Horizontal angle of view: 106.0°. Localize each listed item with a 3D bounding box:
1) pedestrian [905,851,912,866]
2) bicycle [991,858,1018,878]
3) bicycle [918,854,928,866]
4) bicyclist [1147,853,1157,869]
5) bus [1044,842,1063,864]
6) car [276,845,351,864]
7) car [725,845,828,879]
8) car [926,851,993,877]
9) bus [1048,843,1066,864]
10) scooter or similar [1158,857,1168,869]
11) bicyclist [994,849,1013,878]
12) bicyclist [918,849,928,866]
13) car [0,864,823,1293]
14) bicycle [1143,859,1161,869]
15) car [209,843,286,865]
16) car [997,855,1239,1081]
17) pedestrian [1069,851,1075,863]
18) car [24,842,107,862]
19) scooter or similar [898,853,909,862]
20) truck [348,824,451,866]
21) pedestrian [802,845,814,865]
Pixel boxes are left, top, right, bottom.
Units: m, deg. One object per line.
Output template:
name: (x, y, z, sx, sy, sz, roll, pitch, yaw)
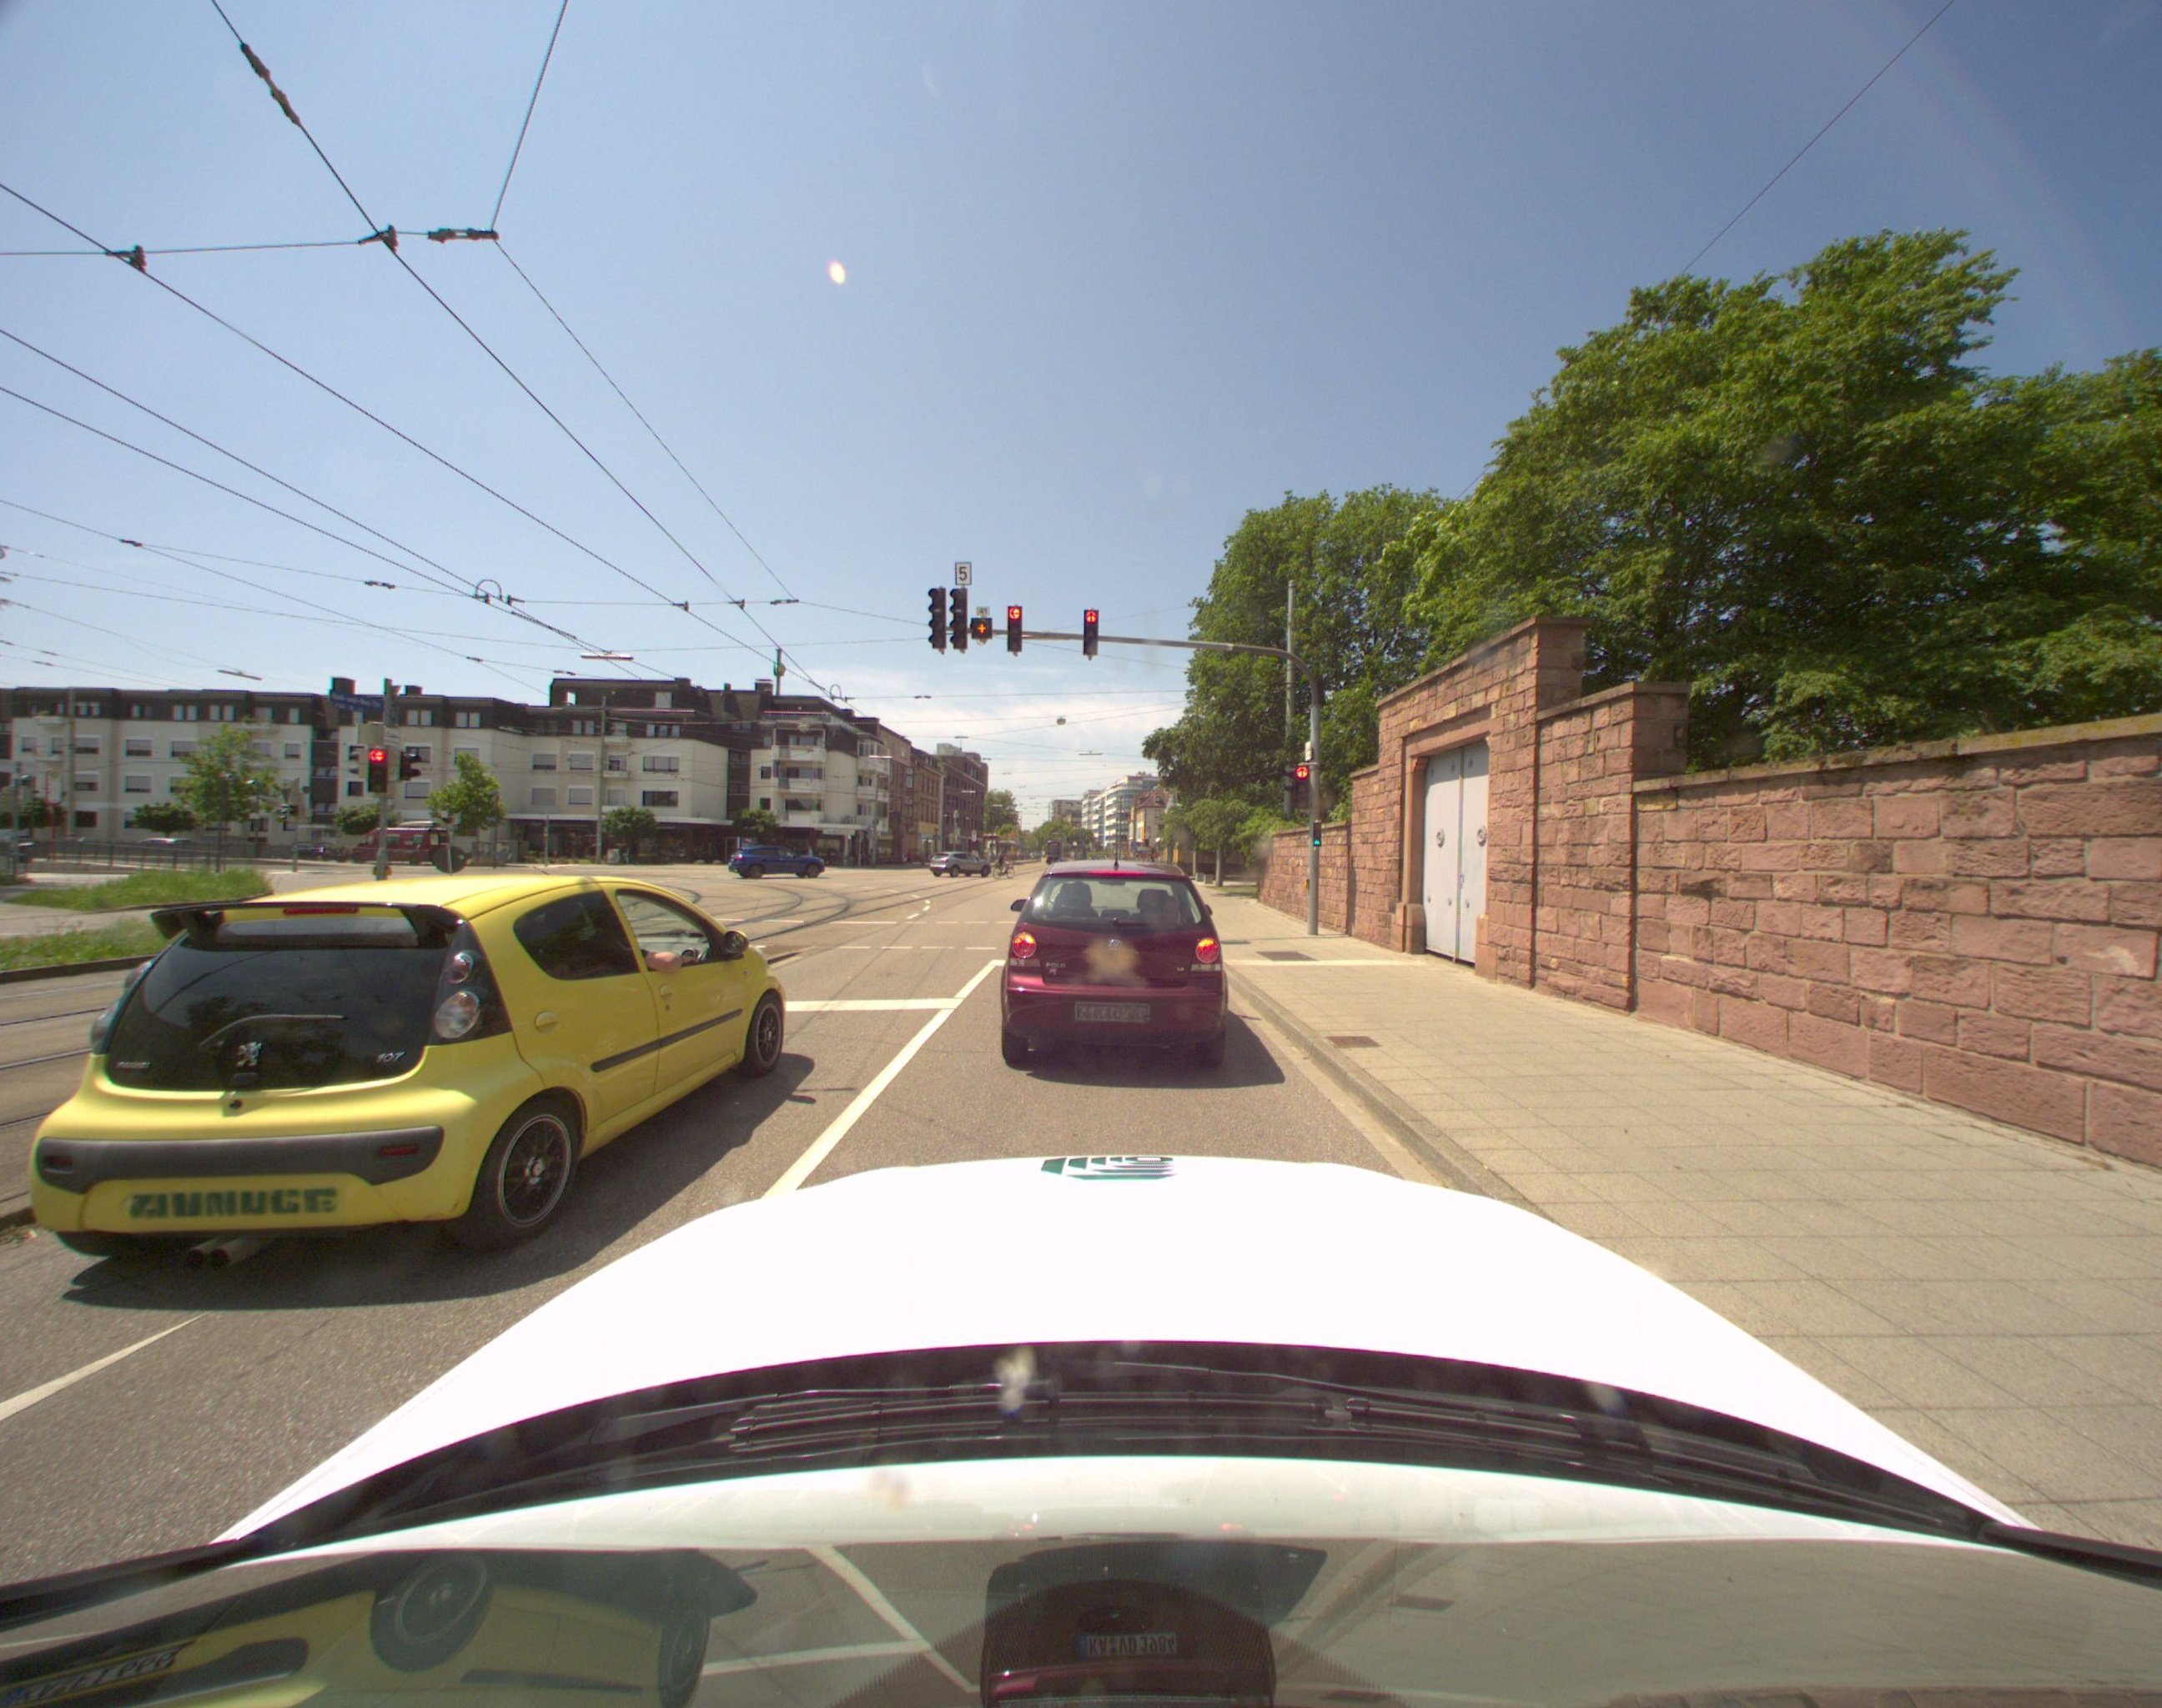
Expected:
pedestrian: (-18.167, 0.426, 85.756, 0.612, 1.560, 0.640, 1, 0, 1)
bicycle: (-4.677, 0.844, 49.839, 0.372, 1.197, 1.917, 1, 0, 41)
bicycle: (-16.411, 0.643, 84.611, 0.692, 1.149, 1.932, 1, 1, 1)
bicyclist: (7.586, 0.738, 86.927, 0.850, 1.618, 0.839, -2, 1, 20)
bus: (-3.980, -0.126, 119.016, 2.136, 3.003, 6.577, 1, 0, 2)
car: (-51.354, 0.048, 54.535, 3.556, 1.219, 1.591, 1, 0, 2)
car: (-15.686, 0.416, 42.056, 4.652, 1.624, 1.978, 1, 0, -37)
car: (-7.673, 0.637, 51.765, 1.806, 1.530, 4.025, 1, 0, 40)
bus: (-3.696, -0.075, 125.588, 2.224, 3.003, 6.597, 1, 0, 2)
scooter or similar: (8.395, 0.922, 83.400, 0.340, 1.178, 1.457, 1, 0, -22)
bicyclist: (-4.730, 0.573, 49.783, 0.720, 1.760, 0.929, 1, 0, 41)
bicyclist: (-16.411, 0.332, 84.635, 0.692, 1.765, 1.137, 1, 1, 1)
car: (-2.895, 0.792, 4.638, 1.610, 1.421, 3.656, -1, -1, 1)
bicycle: (7.569, 1.046, 86.952, 1.842, 1.002, 0.674, -2, 1, 20)
car: (-55.518, 0.003, 54.275, 3.556, 1.433, 1.591, 1, 0, 2)
car: (0.268, 0.746, 6.846, 1.556, 1.453, 3.062, 1, 0, 1)
pedestrian: (-1.330, 0.429, 117.633, 0.760, 1.674, 1.101, 1, 0, 2)
car: (-67.818, -0.140, 54.409, 3.556, 1.240, 1.591, 1, 0, 2)
scooter or similar: (-20.132, 0.383, 92.555, 0.484, 1.082, 1.584, 1, 0, 18)
truck: (-45.277, -0.591, 54.198, 5.007, 2.698, 2.188, 1, 0, 1)
pedestrian: (-23.221, 0.100, 69.274, 0.806, 1.696, 0.698, 1, 0, -14)
